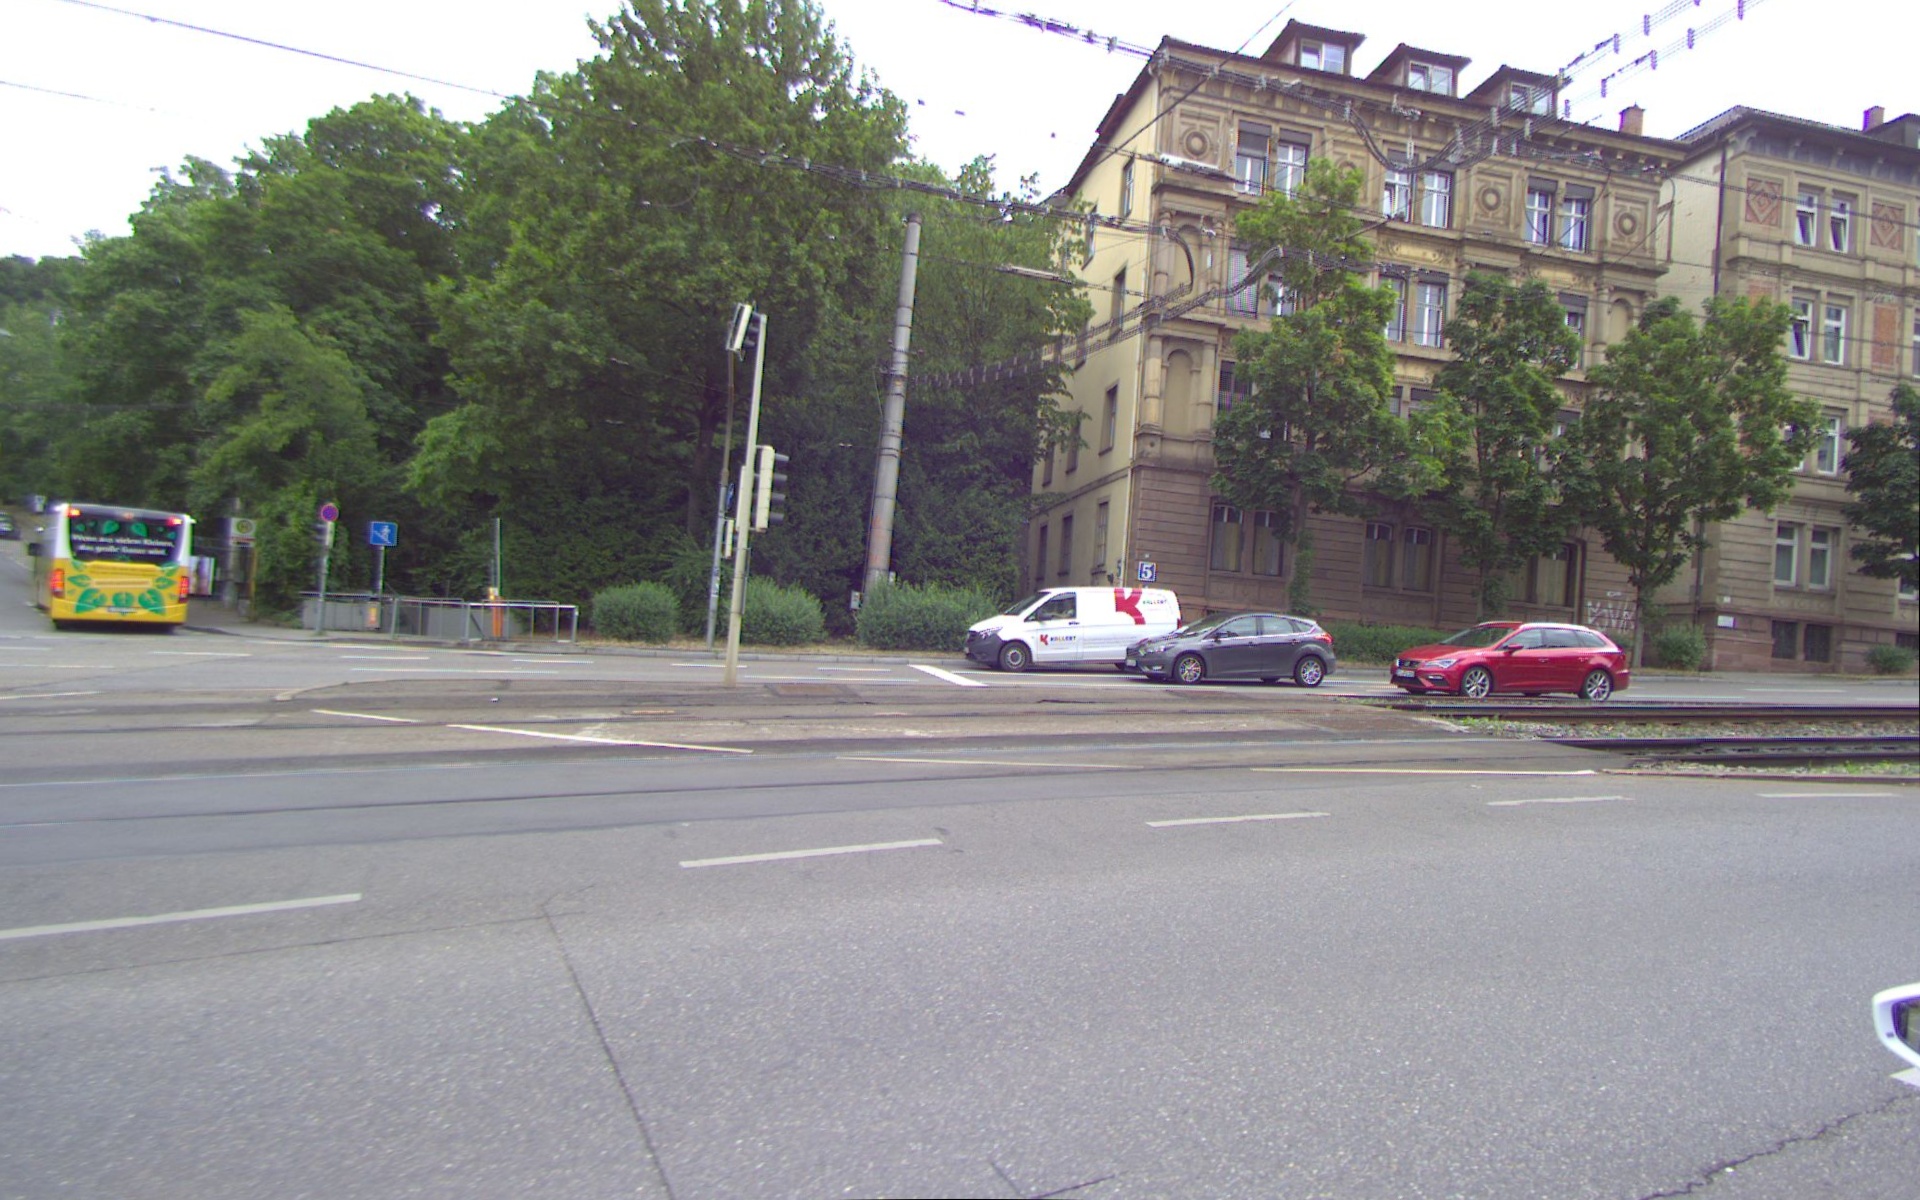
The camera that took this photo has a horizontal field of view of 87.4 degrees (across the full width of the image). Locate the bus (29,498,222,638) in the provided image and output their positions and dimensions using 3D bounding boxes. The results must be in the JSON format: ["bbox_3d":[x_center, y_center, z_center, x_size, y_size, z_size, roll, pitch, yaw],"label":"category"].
[{"bbox_3d":[-22.890,-0.807,27.393,3.365,3.069,11.405,2,0,-42],"label":"bus"}]

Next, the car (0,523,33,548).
[{"bbox_3d":[-77.637,-5.284,82.229,2.413,1.862,3.947,2,0,-44],"label":"car"}]

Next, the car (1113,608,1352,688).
[{"bbox_3d":[5.459,0.957,20.302,4.330,1.446,1.744,2,0,-13],"label":"car"}]

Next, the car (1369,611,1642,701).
[{"bbox_3d":[10.305,1.044,19.097,4.330,1.539,1.995,2,0,-13],"label":"car"}]

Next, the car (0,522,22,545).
[{"bbox_3d":[-85.009,-5.922,89.466,1.987,1.862,3.947,2,0,-44],"label":"car"}]

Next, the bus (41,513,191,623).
[{"bbox_3d":[-28.271,-1.016,33.603,3.299,3.084,11.224,2,0,-41],"label":"bus"}]

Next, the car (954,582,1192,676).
[{"bbox_3d":[2.494,0.636,22.634,4.905,1.874,1.996,2,0,-12],"label":"car"}]
